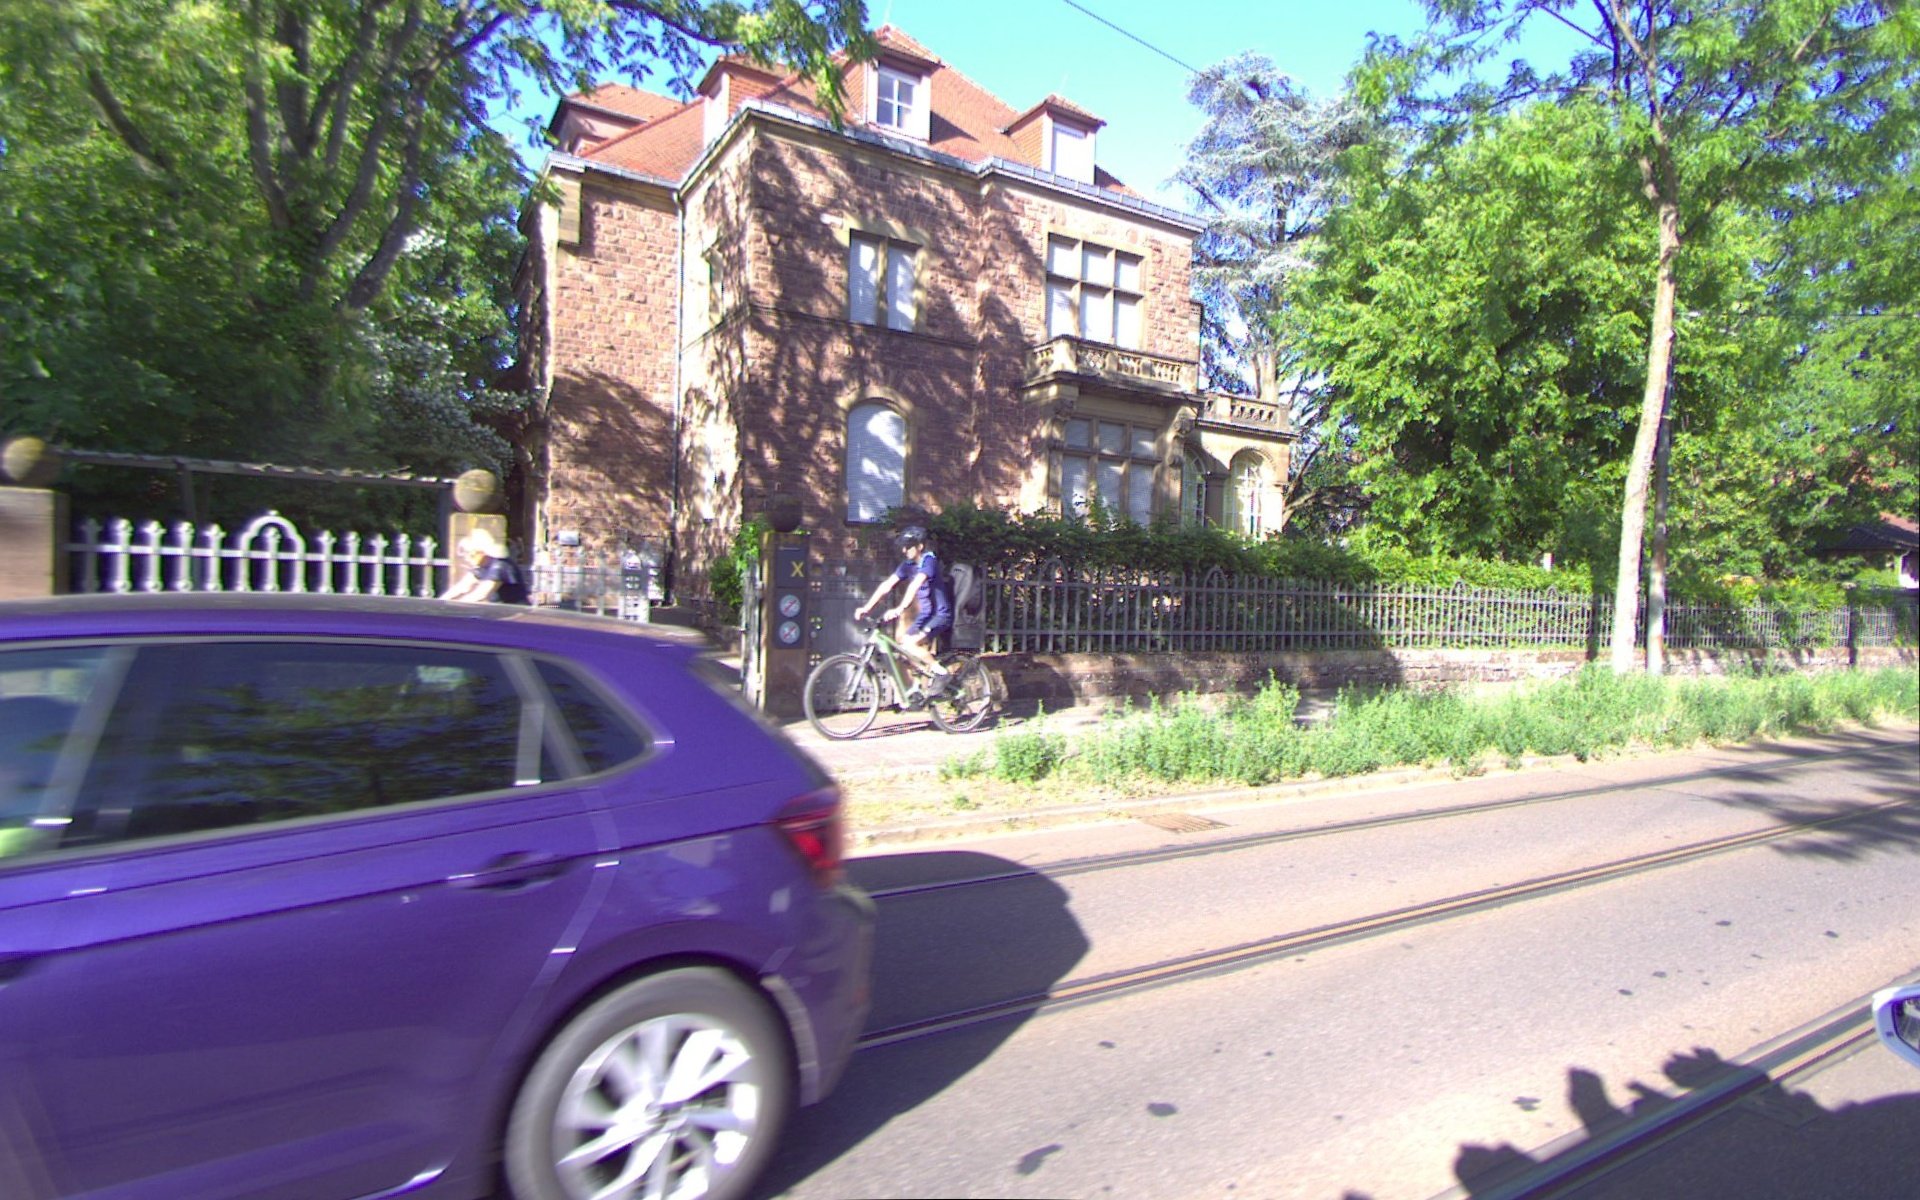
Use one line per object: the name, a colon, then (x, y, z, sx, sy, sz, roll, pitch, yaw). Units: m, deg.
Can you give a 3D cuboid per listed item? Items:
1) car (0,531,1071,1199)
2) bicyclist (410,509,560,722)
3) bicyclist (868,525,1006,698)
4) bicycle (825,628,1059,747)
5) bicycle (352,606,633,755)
car: (-1.888, 0.634, 2.378, 4.023, 1.544, 1.739, 2, 1, -31)
bicyclist: (-3.647, 0.106, 7.695, 0.945, 1.519, 0.706, 2, 3, -30)
bicyclist: (-0.217, 0.102, 9.256, 1.029, 1.490, 0.705, 1, 1, -30)
bicycle: (-0.146, 0.775, 9.317, 2.070, 0.973, 0.708, 1, 1, -30)
bicycle: (-3.585, 0.595, 7.767, 1.867, 0.987, 0.714, 2, 3, -31)
